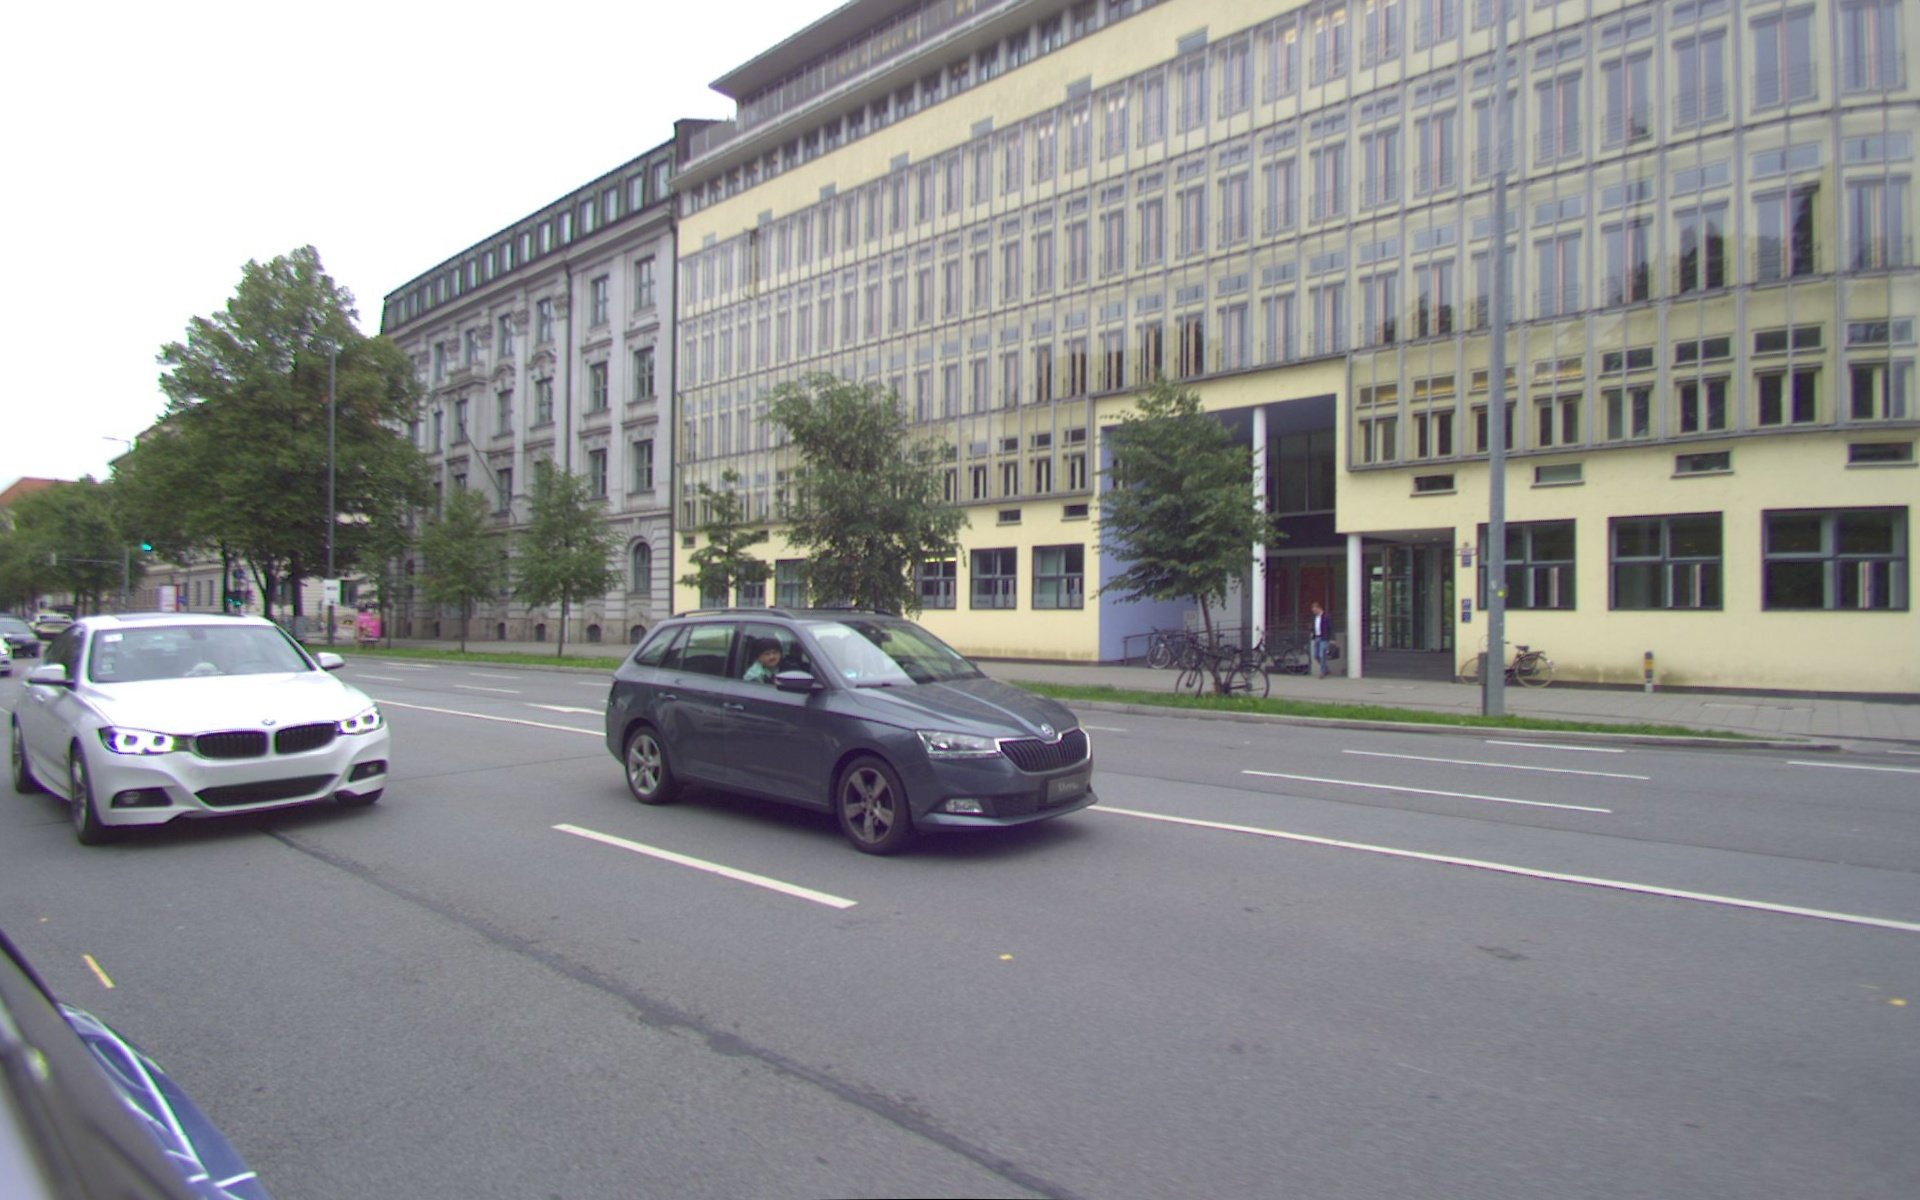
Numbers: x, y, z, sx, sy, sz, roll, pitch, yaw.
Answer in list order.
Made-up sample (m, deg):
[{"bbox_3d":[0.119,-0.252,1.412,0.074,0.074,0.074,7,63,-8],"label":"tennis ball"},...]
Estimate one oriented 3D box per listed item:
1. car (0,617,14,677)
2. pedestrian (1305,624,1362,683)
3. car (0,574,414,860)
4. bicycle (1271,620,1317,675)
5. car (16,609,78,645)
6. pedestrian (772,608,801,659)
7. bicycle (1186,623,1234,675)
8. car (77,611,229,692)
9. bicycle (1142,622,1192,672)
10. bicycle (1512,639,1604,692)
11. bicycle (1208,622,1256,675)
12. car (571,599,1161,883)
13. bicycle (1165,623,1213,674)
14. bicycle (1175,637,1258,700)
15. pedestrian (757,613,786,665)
[{"bbox_3d":[-25.507,1.159,25.660,4.273,1.458,1.774,0,-1,41],"label":"car"},{"bbox_3d":[9.000,1.267,24.394,1.086,1.375,0.829,-1,-2,41],"label":"pedestrian"},{"bbox_3d":[-6.370,0.702,8.176,5.024,1.649,1.774,0,-1,41],"label":"car"},{"bbox_3d":[8.755,1.221,26.516,0.573,1.328,1.990,-1,0,35],"label":"bicycle"},{"bbox_3d":[-46.863,1.379,51.922,4.628,1.762,1.837,-1,-3,42],"label":"car"},{"bbox_3d":[-6.166,1.175,35.995,0.835,1.790,0.609,-1,0,42],"label":"pedestrian"},{"bbox_3d":[6.815,1.312,27.549,0.573,1.328,1.990,-1,0,35],"label":"bicycle"},{"bbox_3d":[-17.024,1.018,21.280,4.336,1.528,1.674,-1,-2,40],"label":"car"},{"bbox_3d":[5.846,1.294,28.488,0.637,1.328,1.990,-1,0,35],"label":"bicycle"},{"bbox_3d":[12.436,1.351,21.071,1.591,1.020,0.567,-1,0,38],"label":"bicycle"},{"bbox_3d":[7.310,1.273,27.177,0.573,1.328,1.990,-1,0,35],"label":"bicycle"},{"bbox_3d":[-0.881,0.749,7.281,4.273,1.458,1.774,0,-1,41],"label":"car"},{"bbox_3d":[6.337,1.316,27.938,0.573,1.328,1.990,-1,0,35],"label":"bicycle"},{"bbox_3d":[4.401,1.164,17.402,1.382,1.020,0.278,-1,0,38],"label":"bicycle"},{"bbox_3d":[-6.604,1.368,35.487,0.835,1.790,0.609,-1,0,42],"label":"pedestrian"}]
